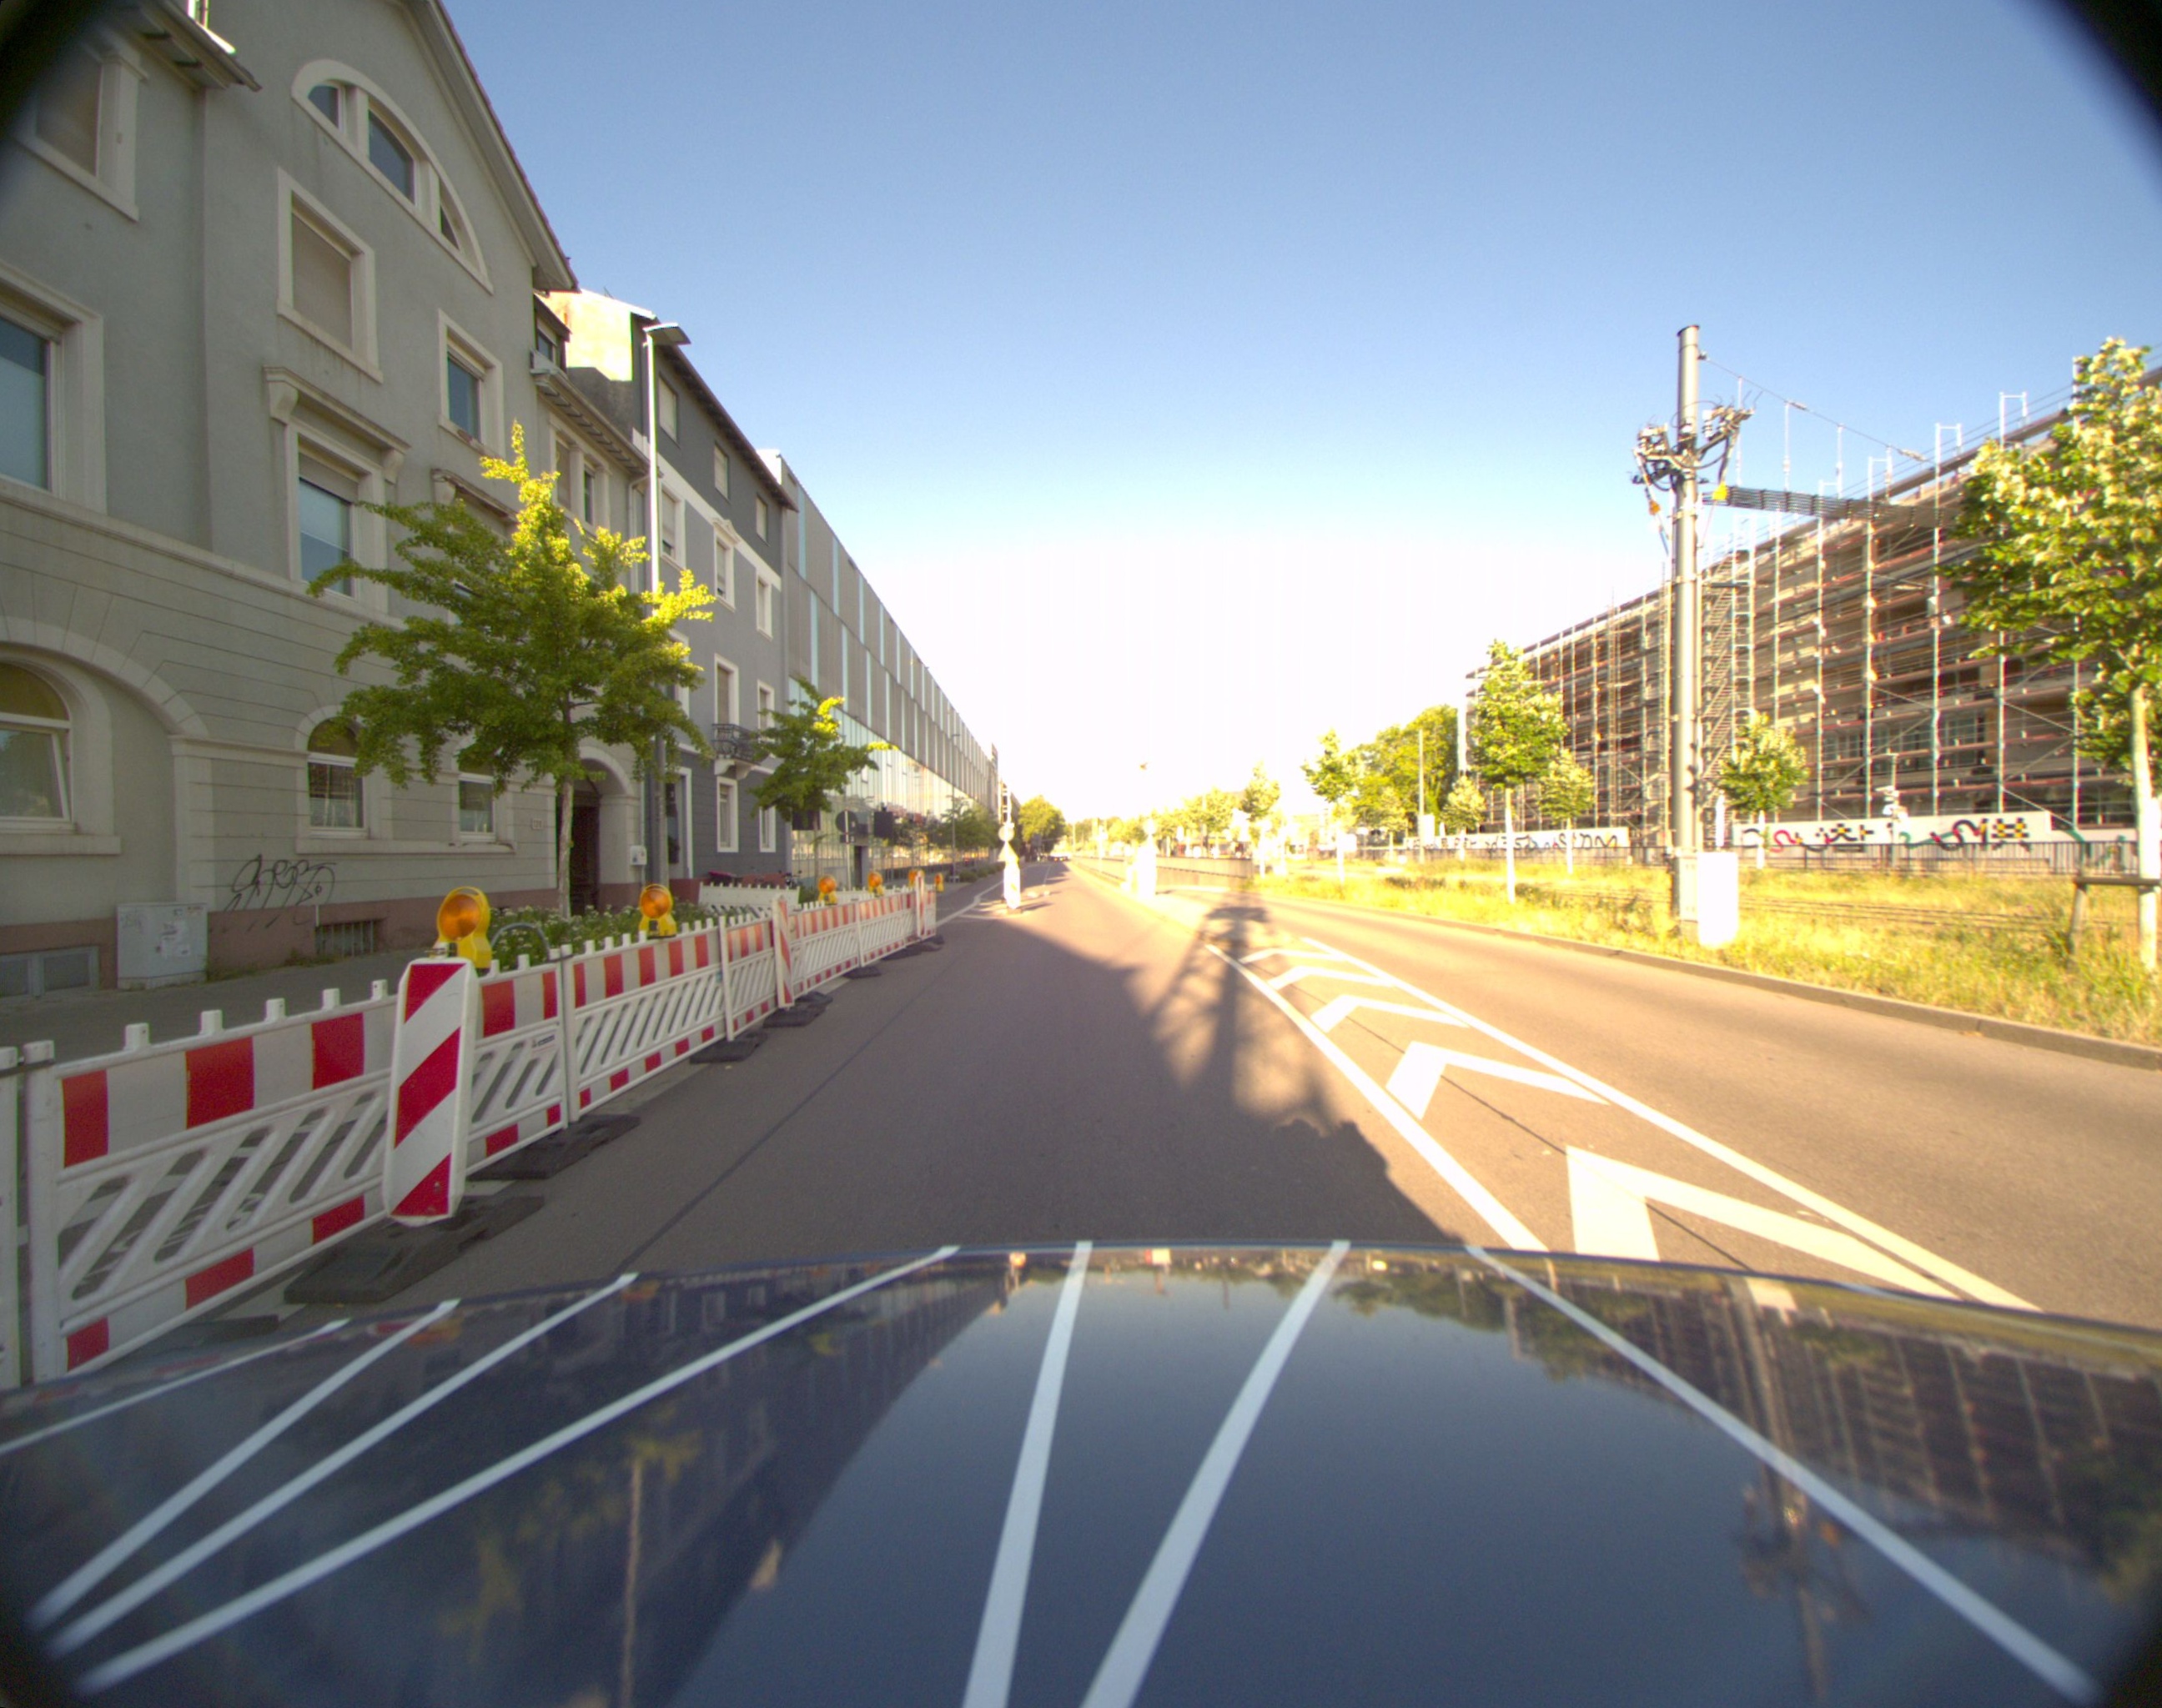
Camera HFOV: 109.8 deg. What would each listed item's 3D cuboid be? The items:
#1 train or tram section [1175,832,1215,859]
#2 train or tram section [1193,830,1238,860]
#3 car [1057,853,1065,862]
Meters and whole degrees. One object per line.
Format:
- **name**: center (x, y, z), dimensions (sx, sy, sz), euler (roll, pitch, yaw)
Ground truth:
- **train or tram section**: center (16.058, -1.212, 107.933), dimensions (2.954, 3.378, 14.761), euler (-2, 1, -2)
- **train or tram section**: center (16.473, -1.088, 94.243), dimensions (2.954, 3.378, 12.630), euler (-2, 1, -2)
- **car**: center (-4.950, 0.806, 187.249), dimensions (1.941, 2.002, 3.825), euler (-1, 0, -3)
